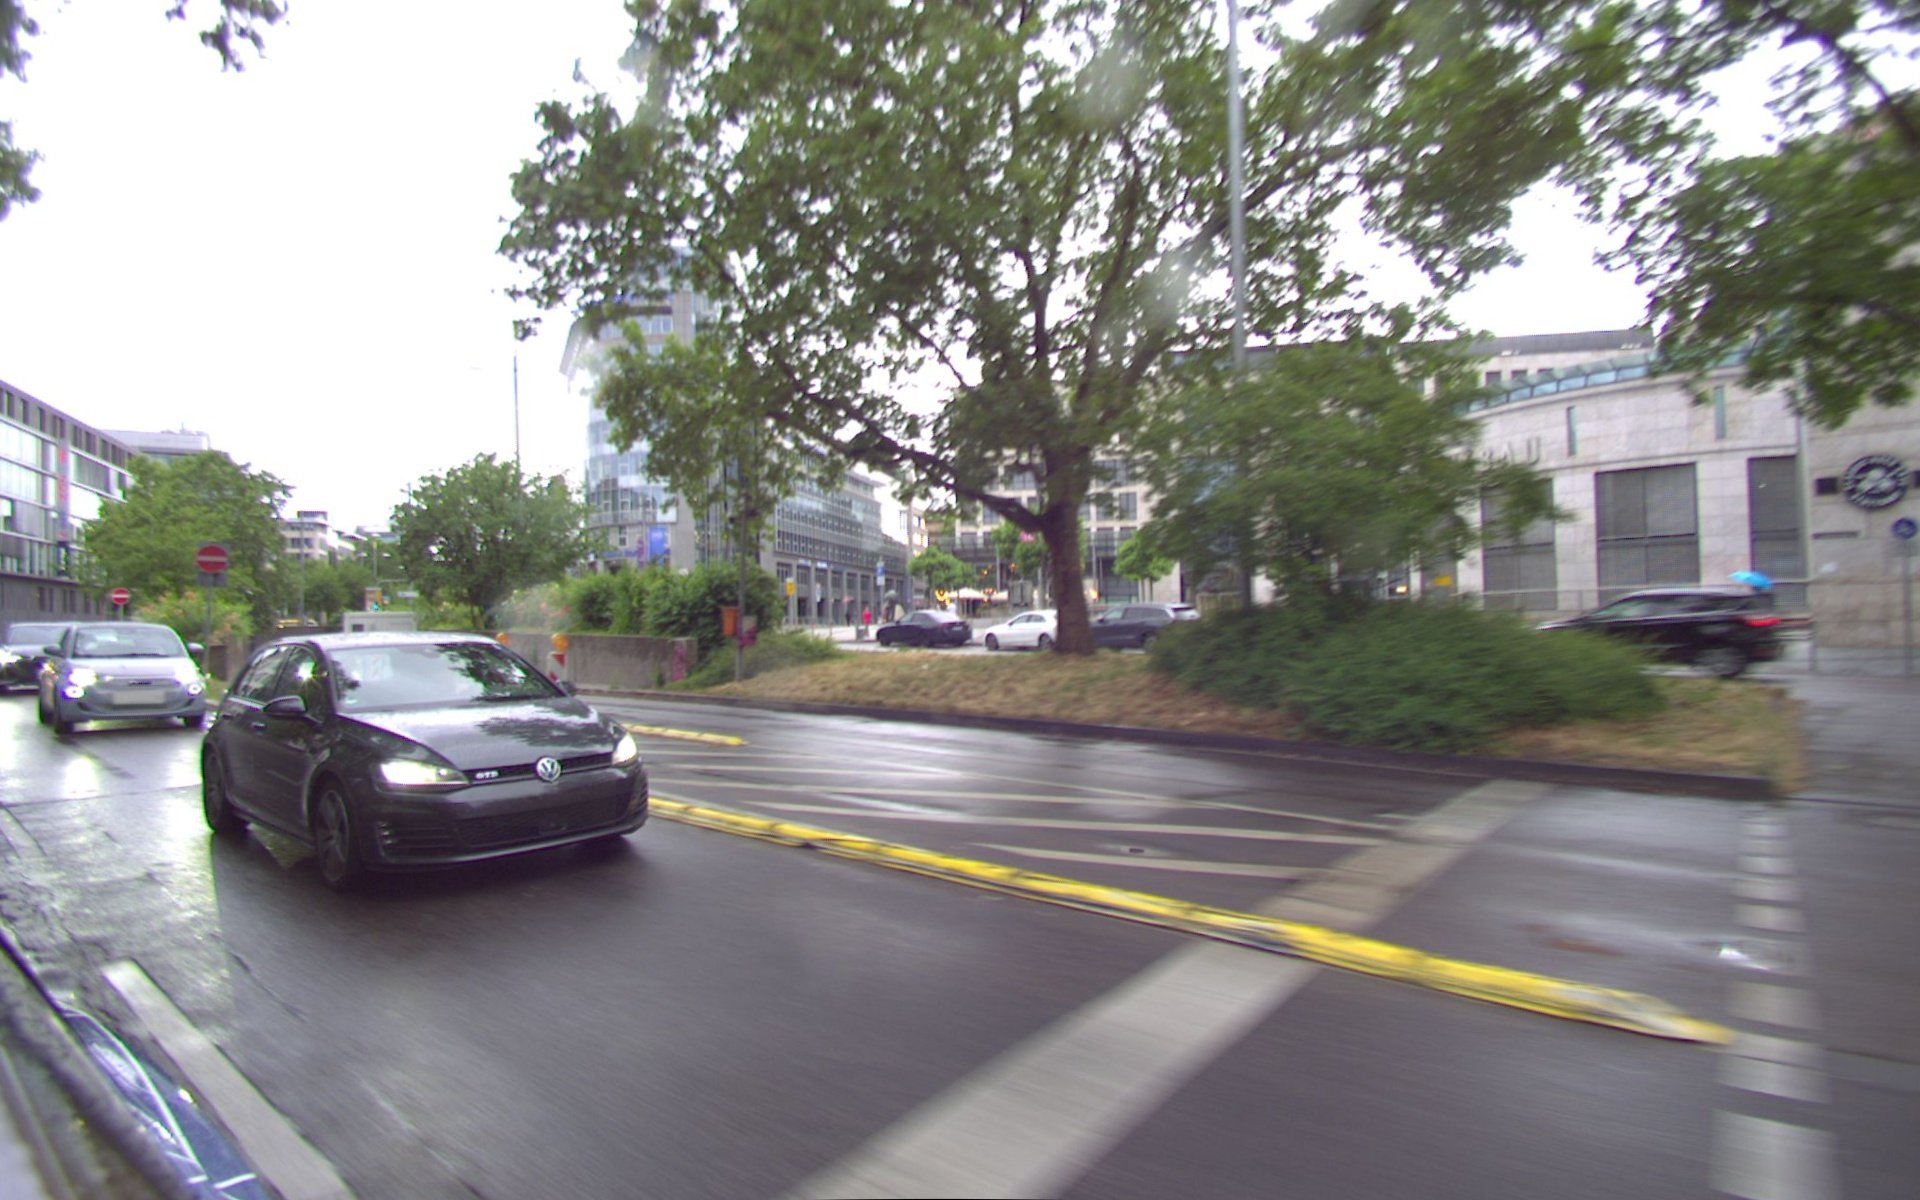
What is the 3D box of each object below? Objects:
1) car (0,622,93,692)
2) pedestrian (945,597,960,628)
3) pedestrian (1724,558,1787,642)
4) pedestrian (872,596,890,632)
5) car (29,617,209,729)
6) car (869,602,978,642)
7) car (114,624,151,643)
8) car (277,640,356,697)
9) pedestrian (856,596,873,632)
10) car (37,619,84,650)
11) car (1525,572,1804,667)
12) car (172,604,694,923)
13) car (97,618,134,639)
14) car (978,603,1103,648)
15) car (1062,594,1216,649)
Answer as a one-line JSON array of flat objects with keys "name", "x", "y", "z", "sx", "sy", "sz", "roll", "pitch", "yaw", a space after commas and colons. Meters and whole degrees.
[{"name": "car", "x": -20.657, "y": 1.219, "z": 22.623, "sx": 1.692, "sy": 1.452, "sz": 3.496, "roll": 1, "pitch": -2, "yaw": -45}, {"name": "pedestrian", "x": -0.404, "y": 0.643, "z": 53.431, "sx": 0.570, "sy": 1.639, "sz": 0.563, "roll": 0, "pitch": -1, "yaw": -42}, {"name": "pedestrian", "x": 18.954, "y": 0.002, "z": 24.122, "sx": 1.124, "sy": 1.938, "sz": 0.582, "roll": -2, "pitch": 0, "yaw": 40}, {"name": "pedestrian", "x": -4.055, "y": 0.702, "z": 51.987, "sx": 0.737, "sy": 1.802, "sz": 0.474, "roll": -2, "pitch": 0, "yaw": -18}, {"name": "car", "x": -12.456, "y": 0.995, "z": 14.928, "sx": 3.494, "sy": 1.452, "sz": 1.590, "roll": -2, "pitch": -2, "yaw": 43}, {"name": "car", "x": -1.590, "y": 0.878, "z": 42.260, "sx": 1.982, "sy": 1.545, "sz": 4.717, "roll": 0, "pitch": 0, "yaw": -42}, {"name": "car", "x": -77.912, "y": 3.133, "z": 95.329, "sx": 1.965, "sy": 1.757, "sz": 3.922, "roll": -1, "pitch": 0, "yaw": -28}, {"name": "car", "x": -21.198, "y": 2.191, "z": 33.269, "sx": 1.754, "sy": 1.608, "sz": 4.008, "roll": -1, "pitch": 0, "yaw": -39}, {"name": "pedestrian", "x": -4.877, "y": 0.730, "z": 51.815, "sx": 0.737, "sy": 1.802, "sz": 0.424, "roll": -2, "pitch": 0, "yaw": -18}, {"name": "car", "x": -53.726, "y": 2.059, "z": 60.506, "sx": 1.969, "sy": 1.757, "sz": 3.916, "roll": -1, "pitch": -1, "yaw": -40}, {"name": "car", "x": 13.846, "y": 0.363, "z": 20.069, "sx": 1.717, "sy": 1.685, "sz": 4.296, "roll": 0, "pitch": 0, "yaw": -44}, {"name": "car", "x": -3.719, "y": 0.811, "z": 6.787, "sx": 4.122, "sy": 1.463, "sz": 1.765, "roll": -2, "pitch": 0, "yaw": 42}, {"name": "car", "x": -72.759, "y": 2.449, "z": 87.242, "sx": 1.966, "sy": 1.757, "sz": 3.921, "roll": -1, "pitch": 0, "yaw": -32}, {"name": "car", "x": 2.908, "y": 0.887, "z": 37.285, "sx": 1.982, "sy": 1.545, "sz": 4.442, "roll": 0, "pitch": 0, "yaw": -42}, {"name": "car", "x": 5.741, "y": 0.663, "z": 32.934, "sx": 1.970, "sy": 1.664, "sz": 4.732, "roll": 0, "pitch": 0, "yaw": -43}]
